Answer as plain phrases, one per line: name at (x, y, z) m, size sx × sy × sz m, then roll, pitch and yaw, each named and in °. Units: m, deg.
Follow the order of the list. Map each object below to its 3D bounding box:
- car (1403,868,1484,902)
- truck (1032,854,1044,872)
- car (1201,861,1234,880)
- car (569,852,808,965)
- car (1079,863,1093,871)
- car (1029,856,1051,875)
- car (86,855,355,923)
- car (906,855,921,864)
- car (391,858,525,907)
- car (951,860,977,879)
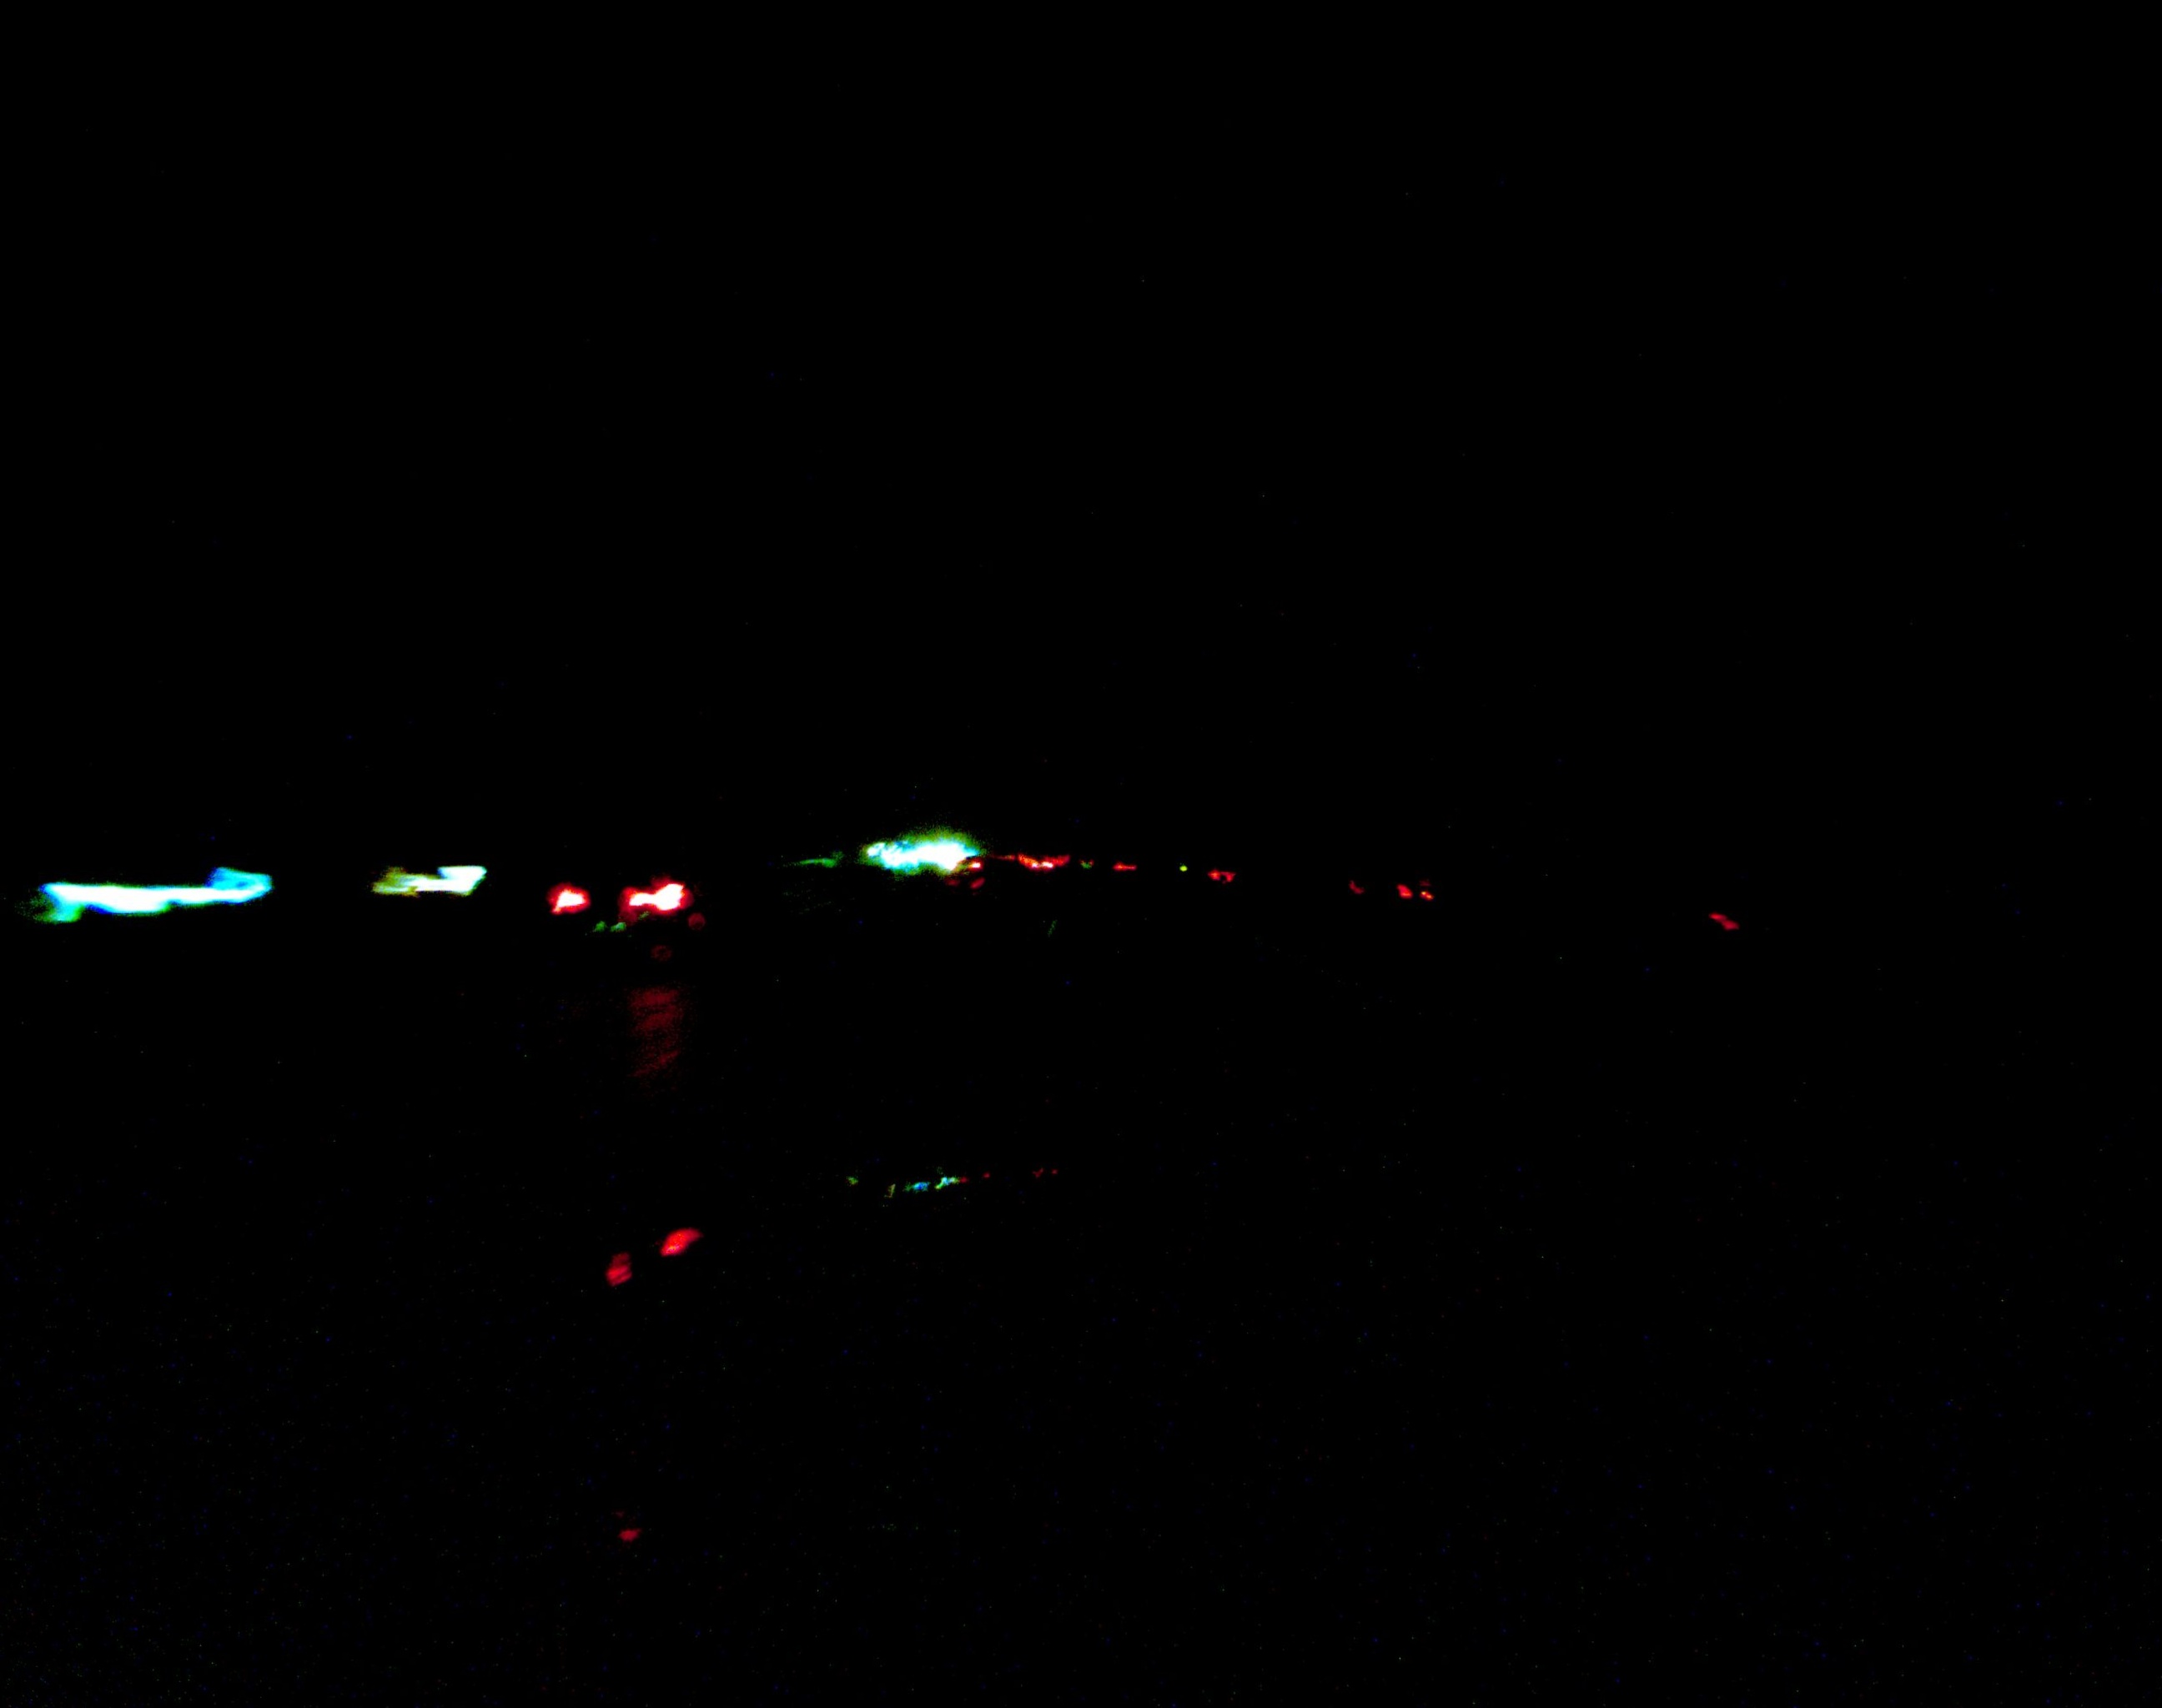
car at (17.809, 1.487, 40.269) m, size 1.988 × 1.449 × 4.333 m, roll 2°, pitch 0°, yaw -1°
truck at (-7.575, 1.584, 143.447) m, size 1.990 × 3.043 × 6.453 m, roll 0°, pitch -2°, yaw -5°
car at (11.482, 1.369, 68.877) m, size 2.050 × 1.519 × 5.018 m, roll 2°, pitch 0°, yaw 2°
car at (-6.411, 0.799, 14.036) m, size 1.853 × 1.541 × 4.747 m, roll 3°, pitch -1°, yaw -2°
car at (0.772, 1.984, 124.754) m, size 1.581 × 1.246 × 3.058 m, roll 3°, pitch -2°, yaw -10°
car at (-3.451, 0.924, 69.290) m, size 1.797 × 1.487 × 3.996 m, roll 2°, pitch 0°, yaw -2°
car at (-18.145, 0.671, 17.489) m, size 1.399 × 1.266 × 4.071 m, roll 0°, pitch 0°, yaw 1°
car at (-24.773, 0.875, 120.559) m, size 1.659 × 1.236 × 3.755 m, roll 0°, pitch -2°, yaw -4°
car at (-22.374, 0.955, 29.462) m, size 1.766 × 1.632 × 4.000 m, roll 0°, pitch 0°, yaw 0°
car at (-7.845, 1.067, 54.538) m, size 1.661 × 1.236 × 3.750 m, roll 0°, pitch -2°, yaw -8°
